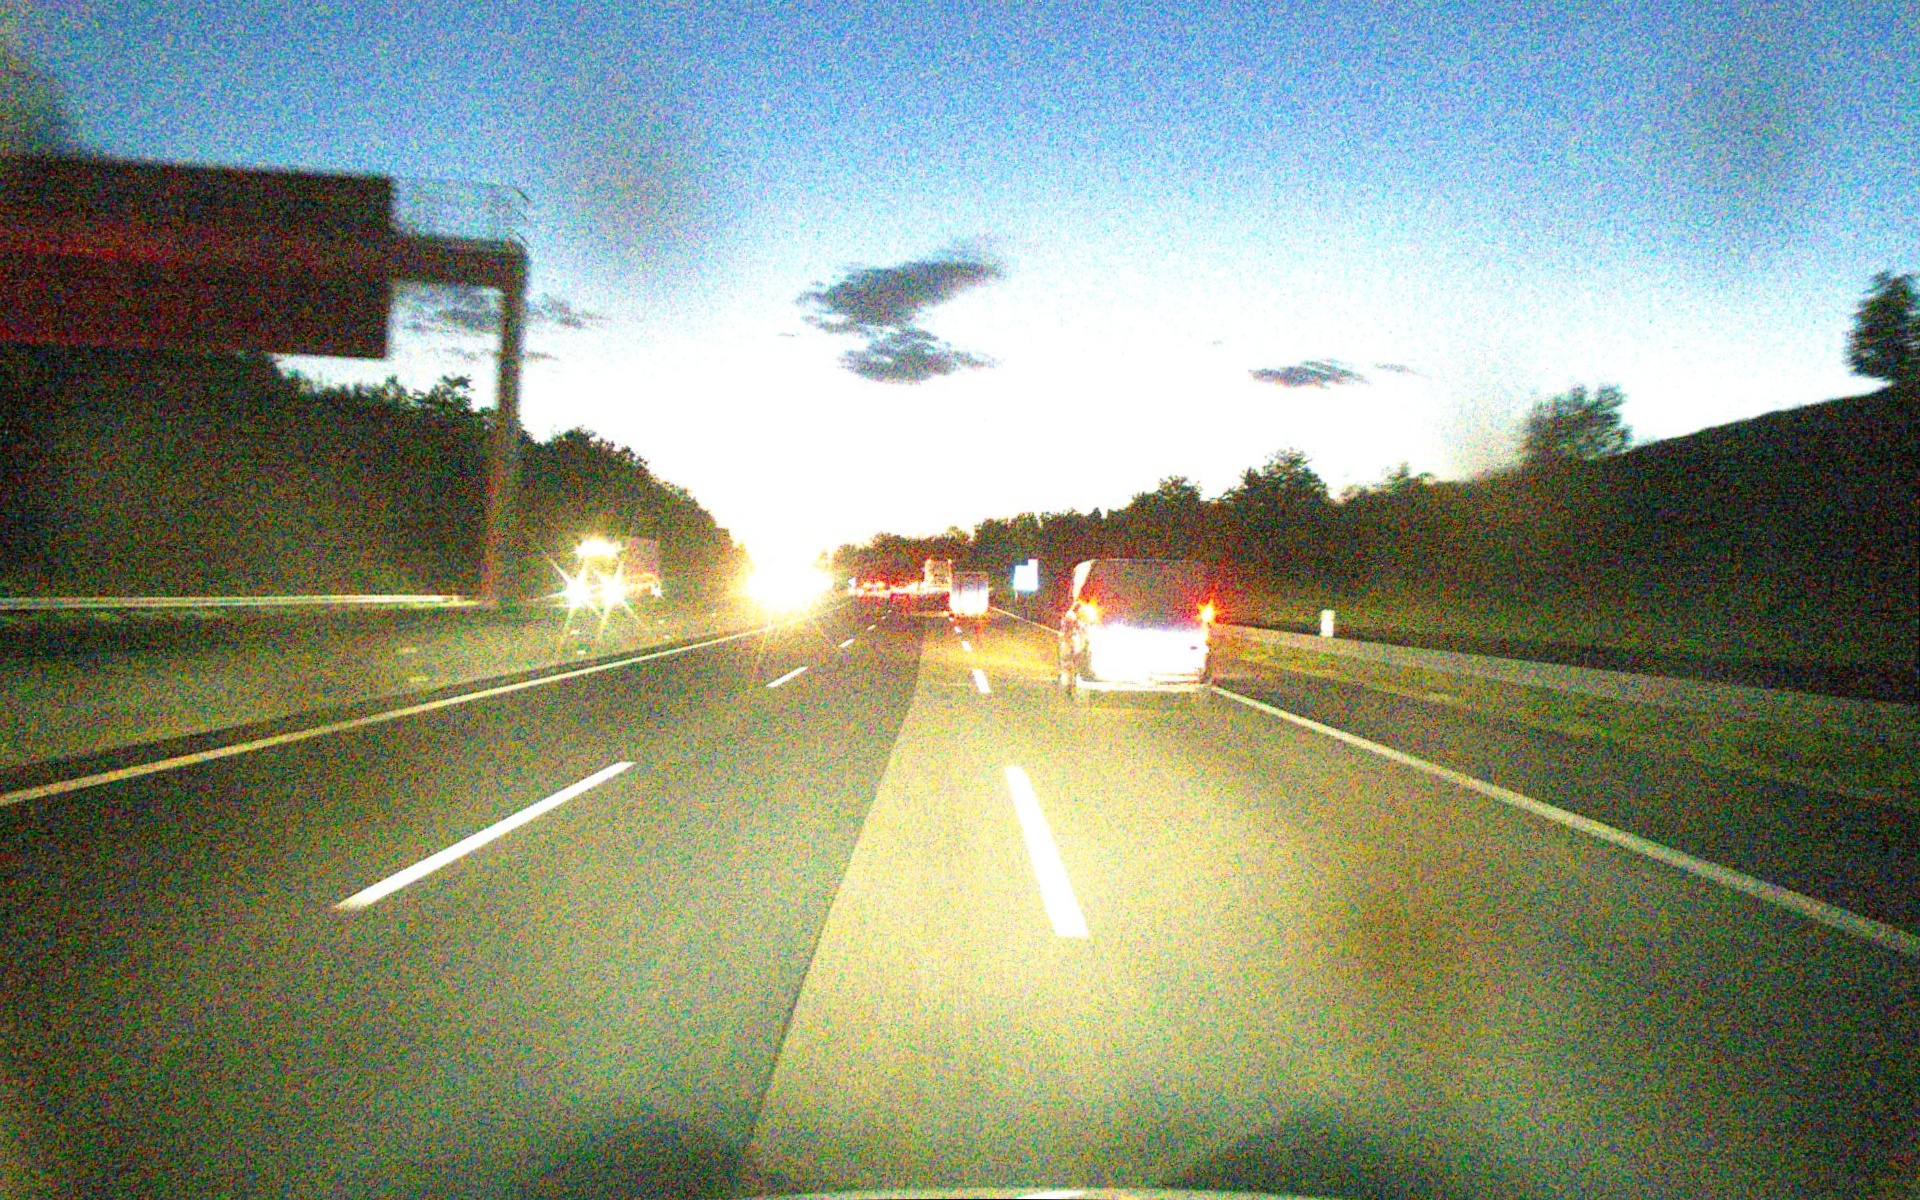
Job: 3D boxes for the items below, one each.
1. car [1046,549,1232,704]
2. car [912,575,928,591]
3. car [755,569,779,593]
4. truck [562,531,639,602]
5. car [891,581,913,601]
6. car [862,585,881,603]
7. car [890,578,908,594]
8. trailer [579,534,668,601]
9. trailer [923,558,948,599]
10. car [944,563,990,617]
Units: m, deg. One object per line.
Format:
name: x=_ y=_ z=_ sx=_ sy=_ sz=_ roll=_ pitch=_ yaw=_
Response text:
car: x=2.533 y=0.339 z=24.893 sx=2.072 sy=2.036 sz=5.663 roll=1 pitch=0 yaw=-1
car: x=-5.666 y=-2.355 z=233.339 sx=1.955 sy=2.154 sz=3.993 roll=1 pitch=-1 yaw=-7
car: x=-21.197 y=-2.070 z=182.251 sx=2.059 sy=2.561 sz=6.213 roll=1 pitch=1 yaw=-2
truck: x=-21.627 y=-1.974 z=99.862 sx=3.361 sy=4.050 sz=6.205 roll=1 pitch=0 yaw=-2
car: x=-5.713 y=-0.823 z=161.734 sx=1.954 sy=1.825 sz=3.996 roll=1 pitch=-1 yaw=-4
car: x=-9.544 y=-0.652 z=178.618 sx=1.953 sy=1.848 sz=3.997 roll=1 pitch=-1 yaw=-3
car: x=-7.170 y=-1.631 z=195.522 sx=1.953 sy=1.825 sz=3.999 roll=1 pitch=-1 yaw=-1
trailer: x=-21.873 y=-2.023 z=108.418 sx=3.361 sy=4.050 sz=13.807 roll=1 pitch=0 yaw=-2
trailer: x=-3.005 y=-2.533 z=200.412 sx=2.772 sy=4.331 sz=17.043 roll=1 pitch=-1 yaw=-1
car: x=0.331 y=-0.513 z=85.195 sx=1.992 sy=2.693 sz=5.721 roll=1 pitch=0 yaw=-3
